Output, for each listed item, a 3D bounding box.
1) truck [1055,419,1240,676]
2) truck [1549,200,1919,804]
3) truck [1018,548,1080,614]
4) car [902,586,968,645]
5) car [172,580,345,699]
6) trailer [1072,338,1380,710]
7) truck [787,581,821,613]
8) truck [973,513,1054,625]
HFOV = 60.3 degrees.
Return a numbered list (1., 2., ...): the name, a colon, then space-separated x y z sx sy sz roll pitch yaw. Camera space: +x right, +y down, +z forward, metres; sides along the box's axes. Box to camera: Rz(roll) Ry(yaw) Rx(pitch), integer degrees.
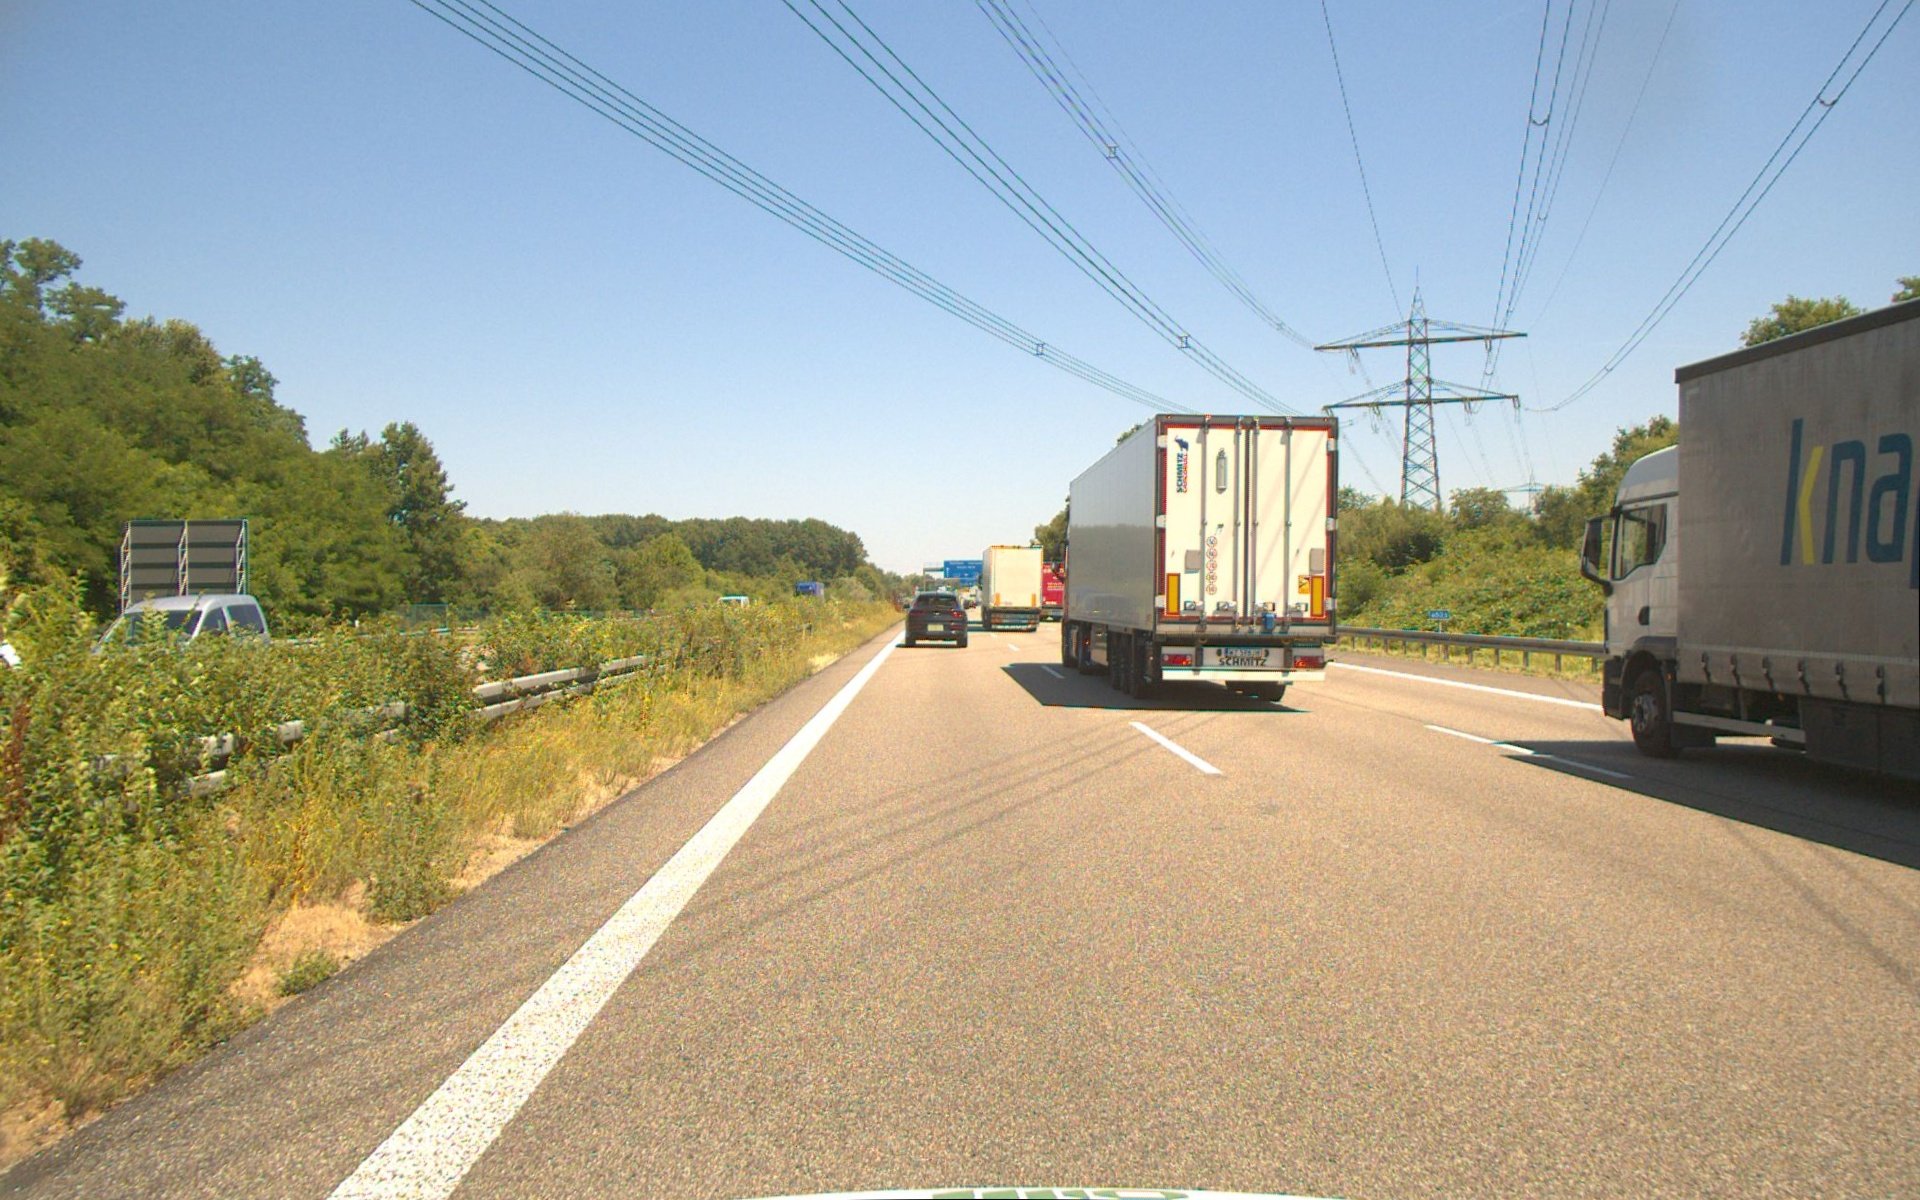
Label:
1. truck: 3.866 -1.019 35.669 3.024 4.970 6.596 1 0 -1
2. truck: 8.578 -0.673 13.009 3.498 4.319 11.649 1 0 -1
3. truck: 6.484 -1.339 122.434 3.441 4.571 13.246 1 0 -2
4. car: -0.836 0.452 52.759 1.954 1.803 3.998 0 0 -3
5. car: -13.004 0.693 30.864 1.697 2.049 3.587 -1 0 -1
6. trailer: 4.014 -1.023 28.499 3.024 4.970 12.255 1 0 -1
7. truck: -19.748 -0.418 209.717 3.441 3.835 12.039 1 0 -2
8. truck: 2.568 -1.504 83.224 3.441 5.257 10.255 1 0 -2
